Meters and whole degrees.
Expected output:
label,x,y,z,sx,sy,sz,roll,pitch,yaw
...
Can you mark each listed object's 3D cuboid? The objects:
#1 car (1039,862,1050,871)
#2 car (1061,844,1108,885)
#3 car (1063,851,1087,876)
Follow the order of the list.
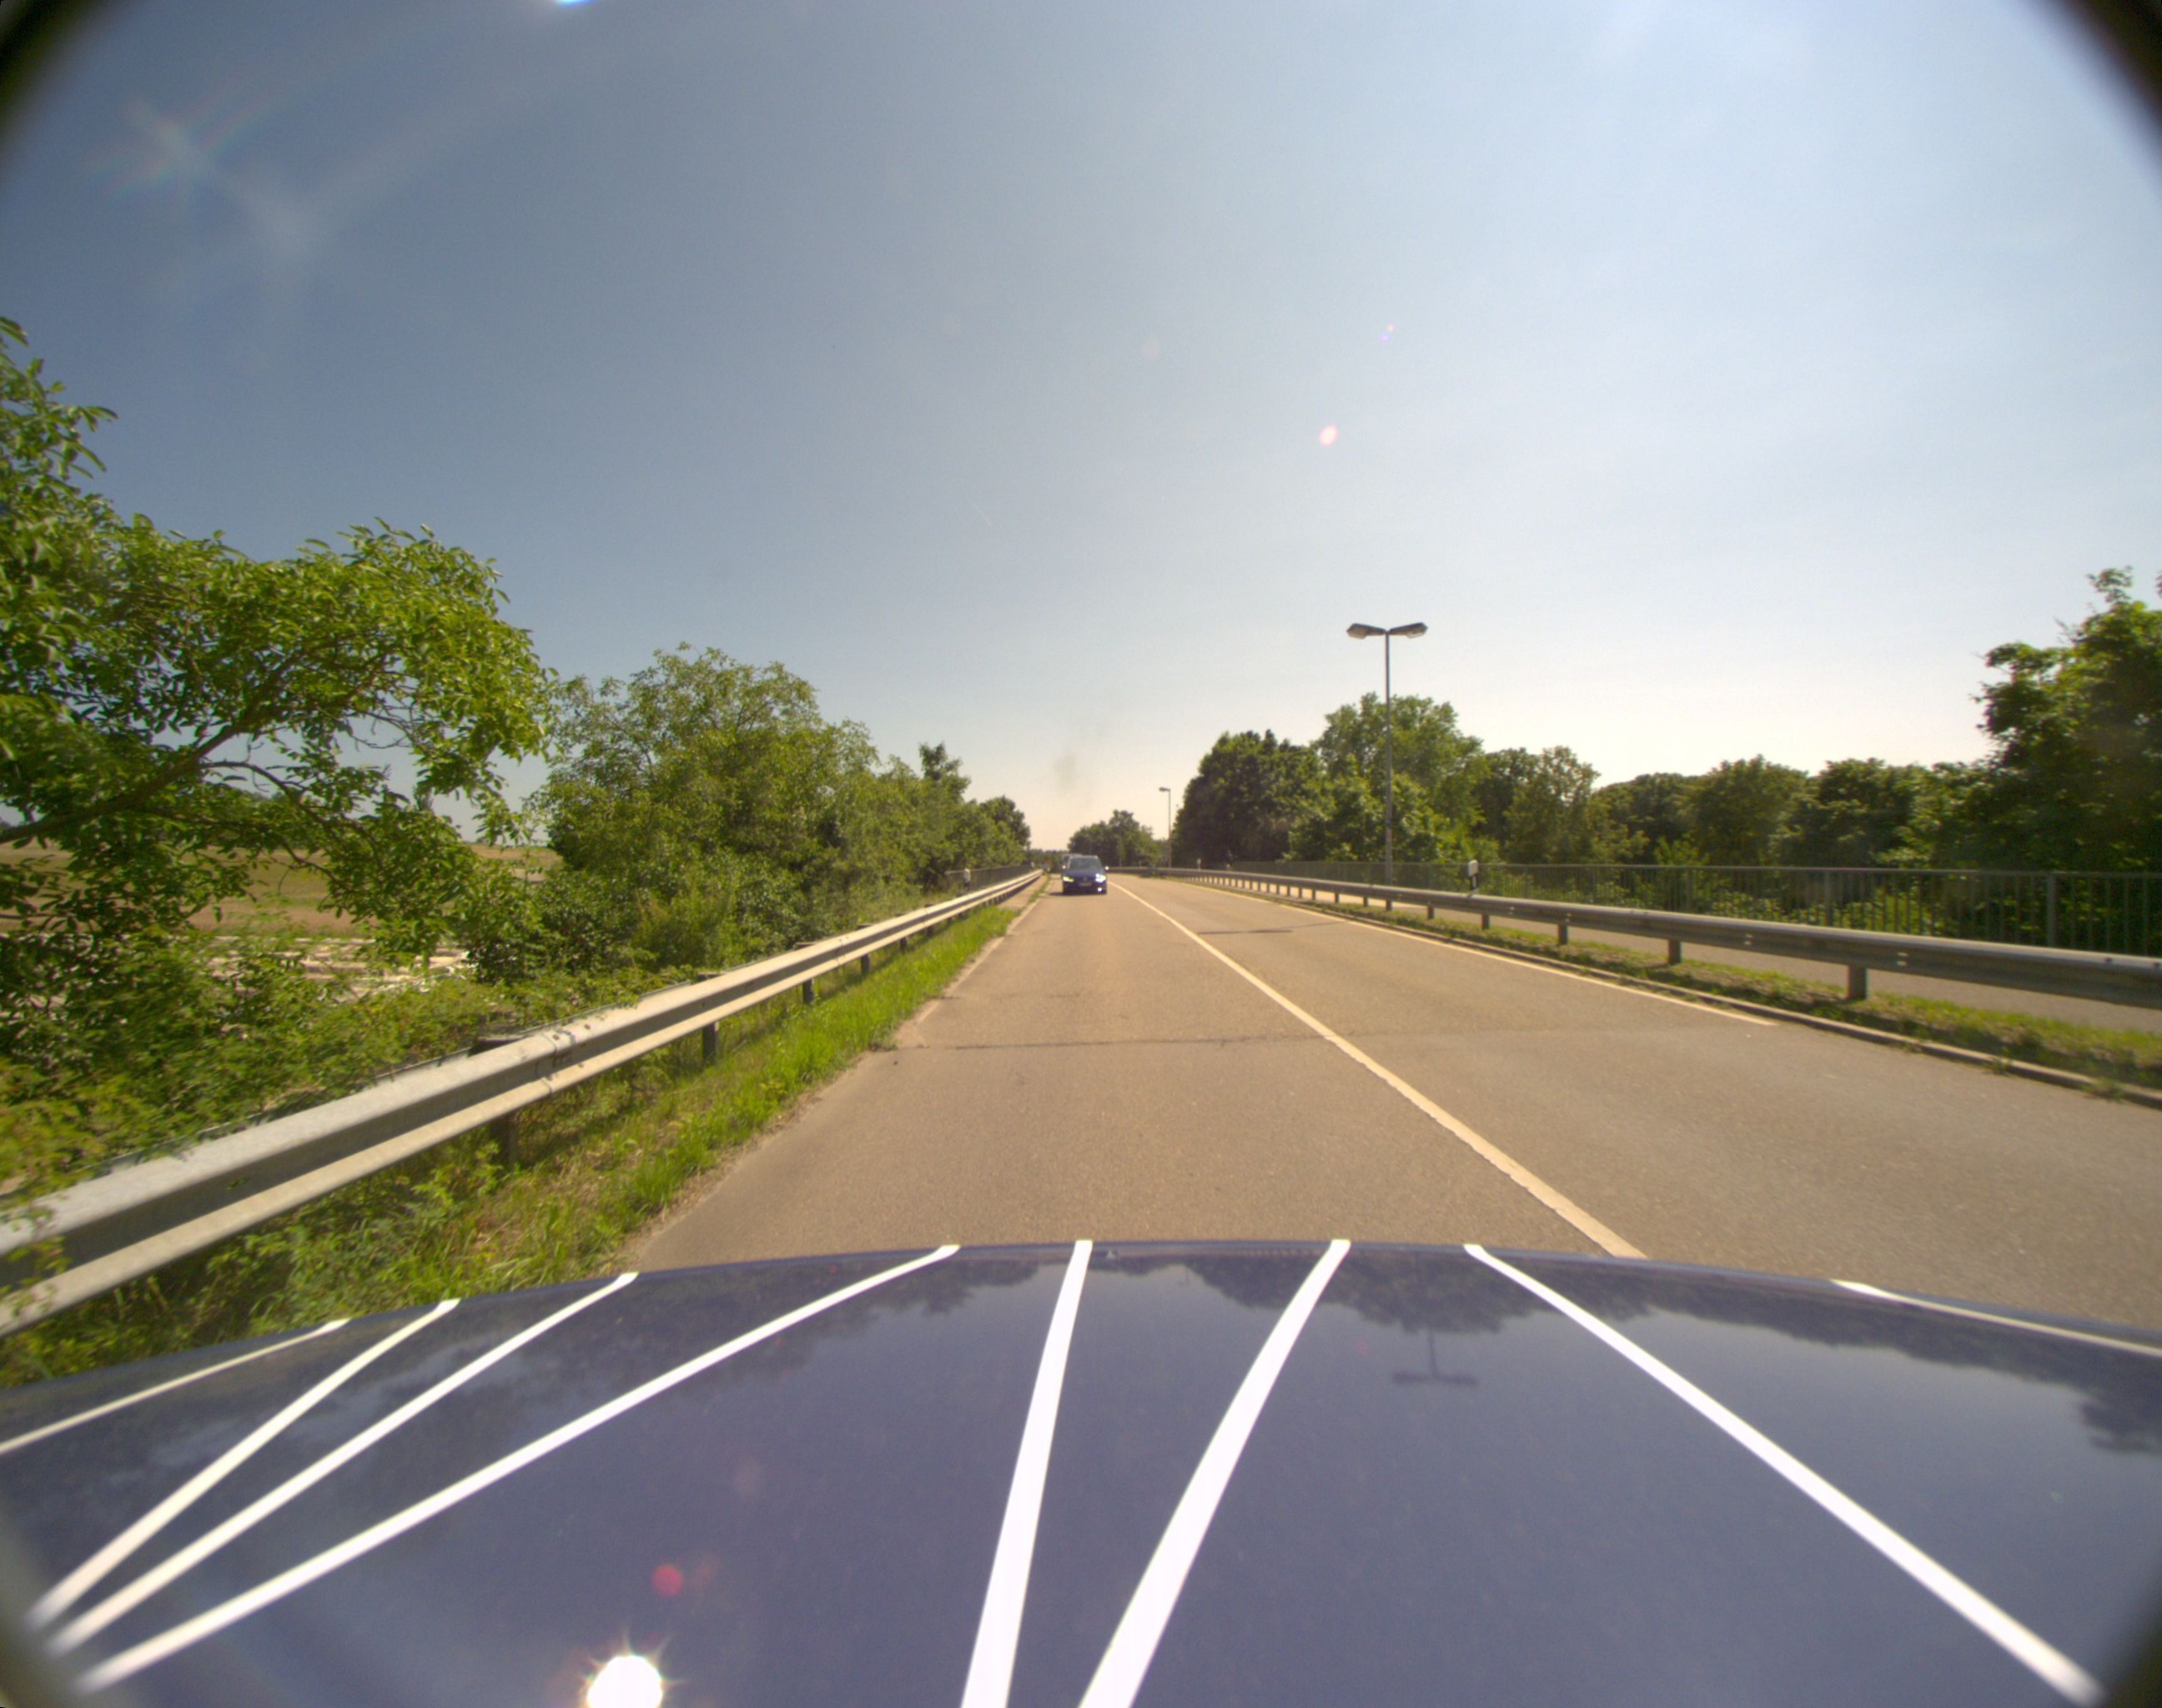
label,x,y,z,sx,sy,sz,roll,pitch,yaw
car,-6.141,2.111,128.444,1.765,1.530,3.684,-1,0,-2
car,0.110,0.383,31.890,1.764,1.520,4.422,-3,1,0
car,-0.522,0.754,62.709,1.765,1.954,4.260,-3,1,-1
